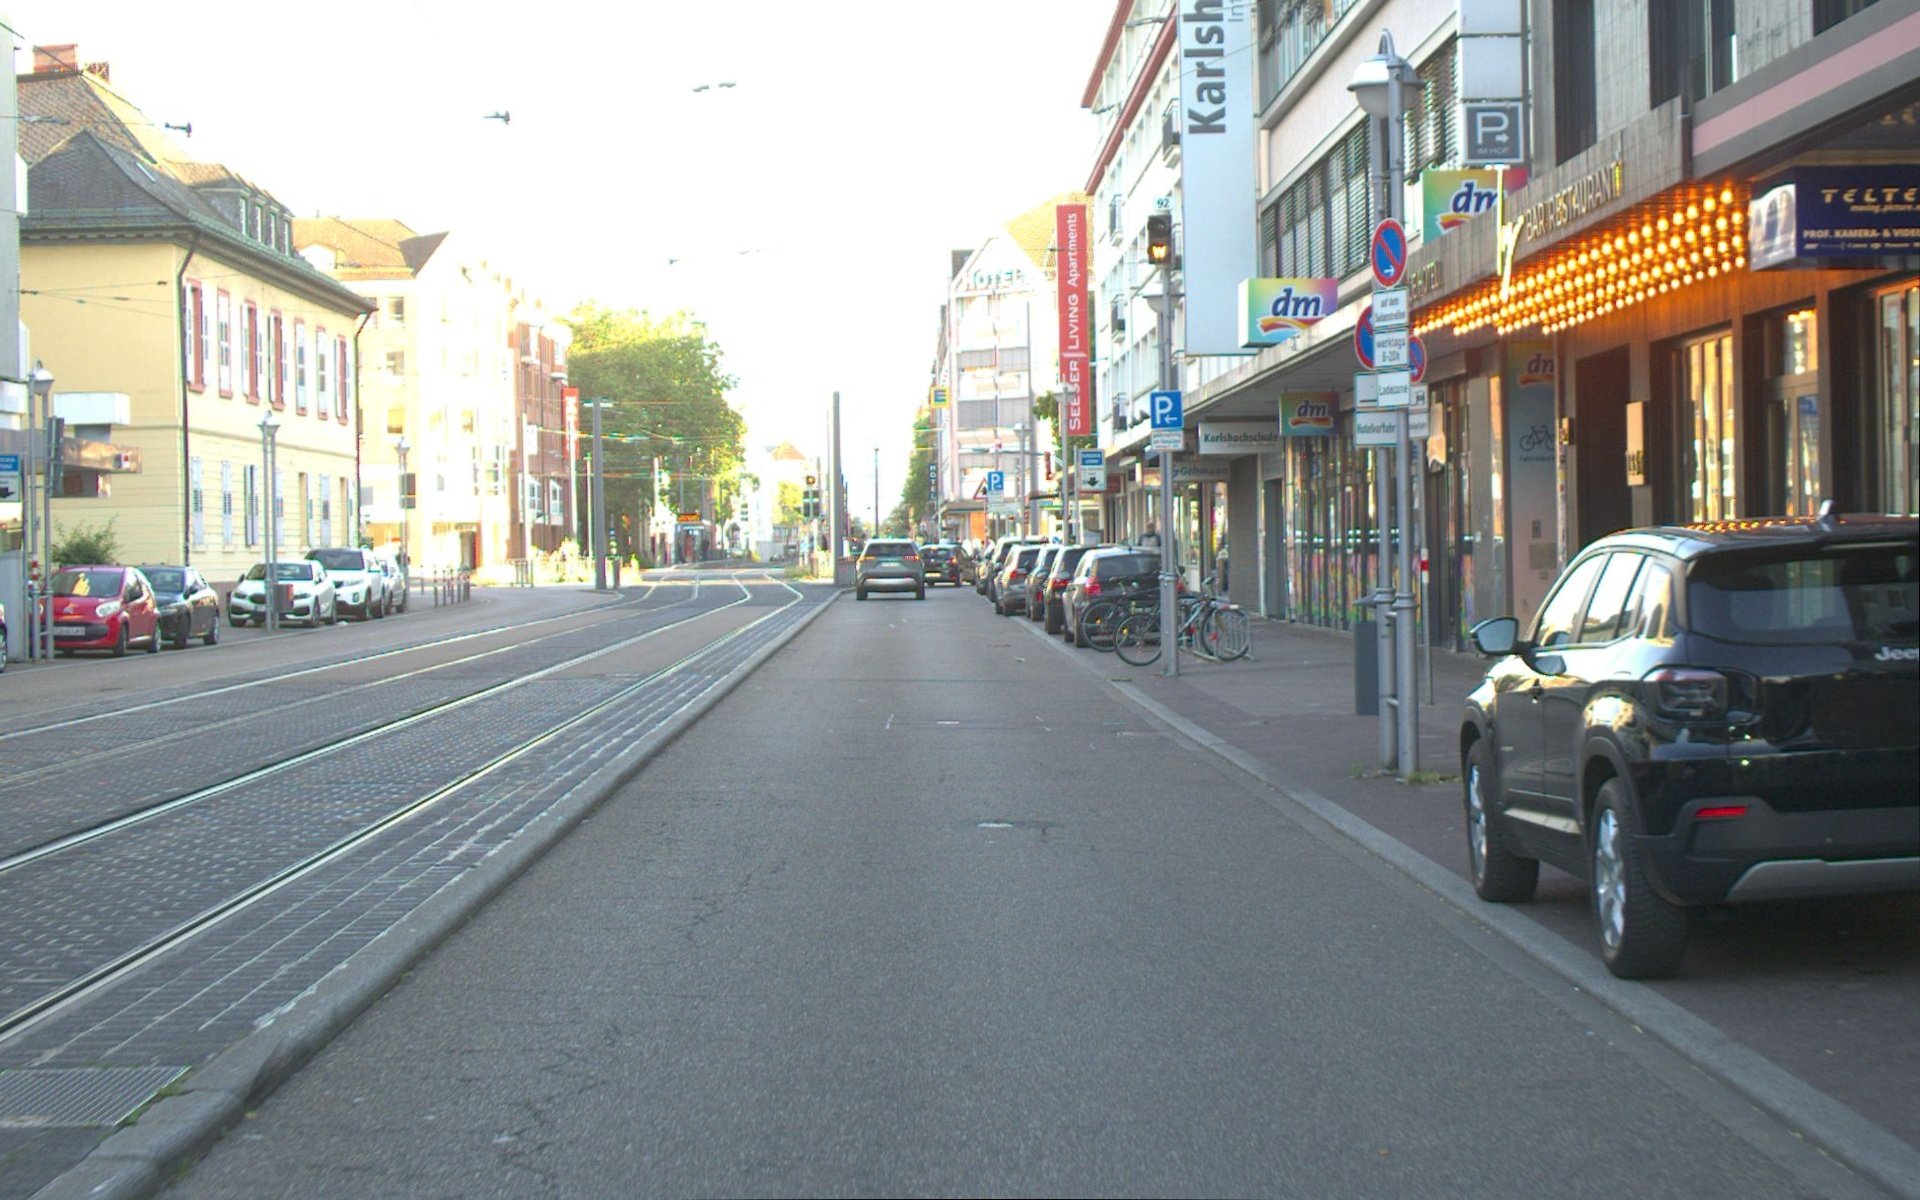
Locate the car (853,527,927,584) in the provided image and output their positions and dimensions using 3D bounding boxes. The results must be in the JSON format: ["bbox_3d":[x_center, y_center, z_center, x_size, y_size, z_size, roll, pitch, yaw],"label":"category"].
[{"bbox_3d":[-1.902,-1.241,94.604,1.944,1.539,4.545,0,1,0],"label":"car"}]

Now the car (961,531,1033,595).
[{"bbox_3d":[1.047,-1.094,99.317,1.944,1.697,4.545,-3,1,0],"label":"car"}]

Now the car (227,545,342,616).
[{"bbox_3d":[-14.612,-0.447,74.527,1.790,1.444,3.892,1,1,-2],"label":"car"}]

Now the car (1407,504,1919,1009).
[{"bbox_3d":[3.022,0.440,13.215,1.944,1.539,4.545,-3,1,0],"label":"car"}]

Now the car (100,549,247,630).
[{"bbox_3d":[-13.976,-0.215,61.265,1.790,1.334,3.892,1,1,-2],"label":"car"}]

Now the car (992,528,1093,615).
[{"bbox_3d":[1.715,-0.634,72.677,1.944,1.697,4.545,-3,1,0],"label":"car"}]

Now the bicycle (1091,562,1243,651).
[{"bbox_3d":[2.629,0.073,43.719,1.868,1.086,0.545,-1,1,-1],"label":"bicycle"}]

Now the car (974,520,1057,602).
[{"bbox_3d":[1.390,-1.013,87.620,1.944,1.958,4.545,-3,1,0],"label":"car"}]

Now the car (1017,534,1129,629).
[{"bbox_3d":[2.173,-0.394,66.978,1.944,1.697,4.545,-3,1,0],"label":"car"}]

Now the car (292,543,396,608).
[{"bbox_3d":[-14.413,-0.596,80.615,1.790,1.444,3.892,2,1,-1],"label":"car"}]

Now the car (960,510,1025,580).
[{"bbox_3d":[1.041,-1.792,111.158,1.944,2.138,4.545,-3,1,0],"label":"car"}]

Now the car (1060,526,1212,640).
[{"bbox_3d":[2.571,-0.288,51.146,1.944,1.539,4.545,-3,1,0],"label":"car"}]

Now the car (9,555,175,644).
[{"bbox_3d":[-14.084,-0.030,55.965,1.790,1.334,3.892,1,1,-2],"label":"car"}]

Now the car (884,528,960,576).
[{"bbox_3d":[-1.266,-1.639,116.024,1.944,1.539,4.543,-1,1,7],"label":"car"}]

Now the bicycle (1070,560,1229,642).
[{"bbox_3d":[2.615,0.007,47.471,2.118,1.086,0.592,-1,1,-3],"label":"bicycle"}]

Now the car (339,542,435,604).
[{"bbox_3d":[-14.245,-0.688,85.667,1.790,1.444,3.892,2,1,-1],"label":"car"}]

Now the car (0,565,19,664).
[{"bbox_3d":[-13.996,0.198,46.053,1.790,1.334,3.892,1,1,-2],"label":"car"}]

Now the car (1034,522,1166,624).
[{"bbox_3d":[2.302,-0.480,57.448,1.944,1.539,4.545,-3,1,0],"label":"car"}]
